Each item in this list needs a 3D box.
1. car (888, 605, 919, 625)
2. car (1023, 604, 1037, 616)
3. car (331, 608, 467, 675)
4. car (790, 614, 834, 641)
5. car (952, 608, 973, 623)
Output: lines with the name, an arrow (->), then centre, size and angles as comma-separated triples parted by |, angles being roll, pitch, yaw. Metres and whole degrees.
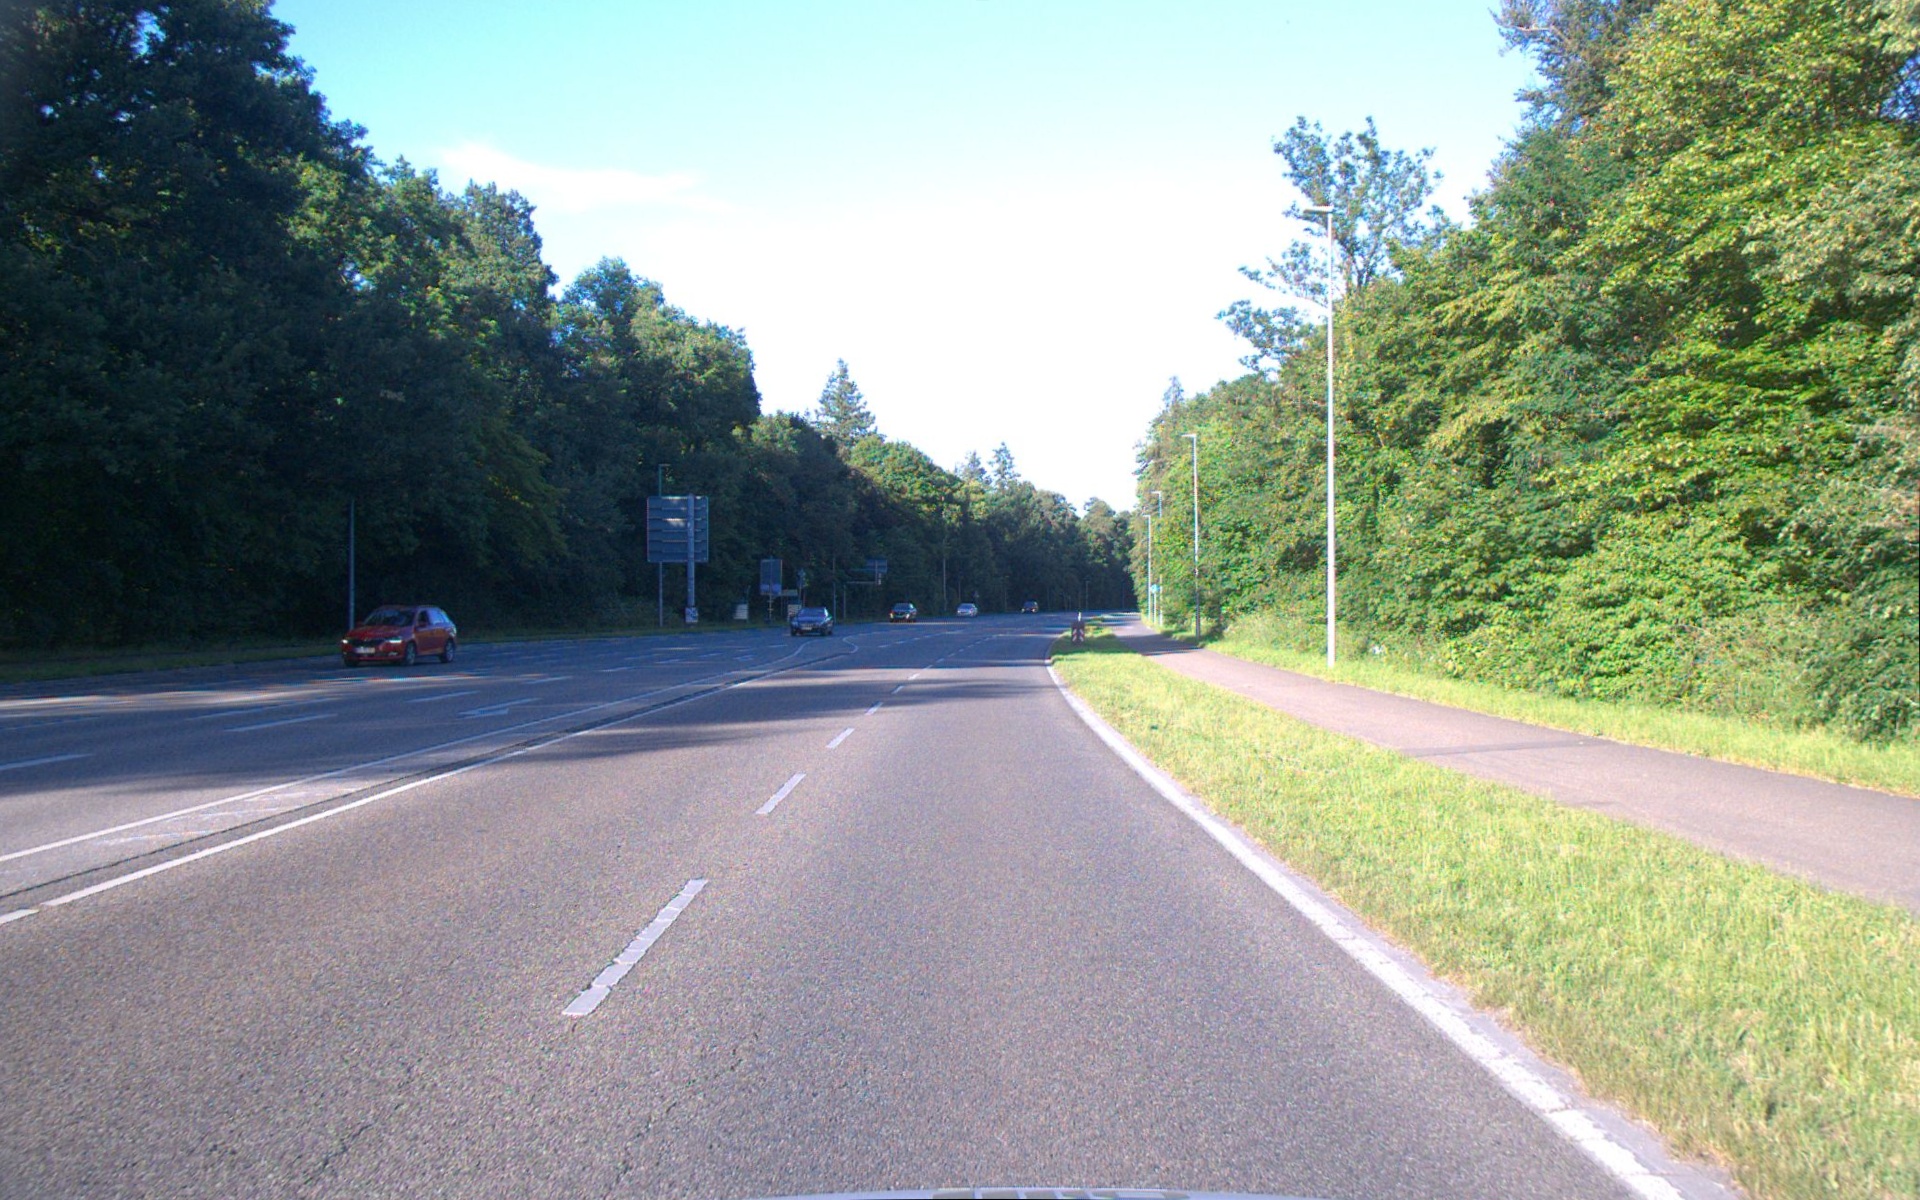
car -> -4.588, 1.191, 134.708 | 1.786, 1.572, 4.260 | 0, 0, 7
car -> 9.686, 1.401, 228.774 | 1.786, 1.617, 4.354 | 0, 0, 6
car -> -14.272, 1.011, 42.327 | 1.952, 1.591, 4.338 | -1, 0, 1
car -> -7.221, 1.319, 81.124 | 1.708, 1.256, 4.673 | -1, 0, 1
car -> 0.315, 1.660, 175.369 | 1.786, 1.530, 4.309 | 0, 0, 6
